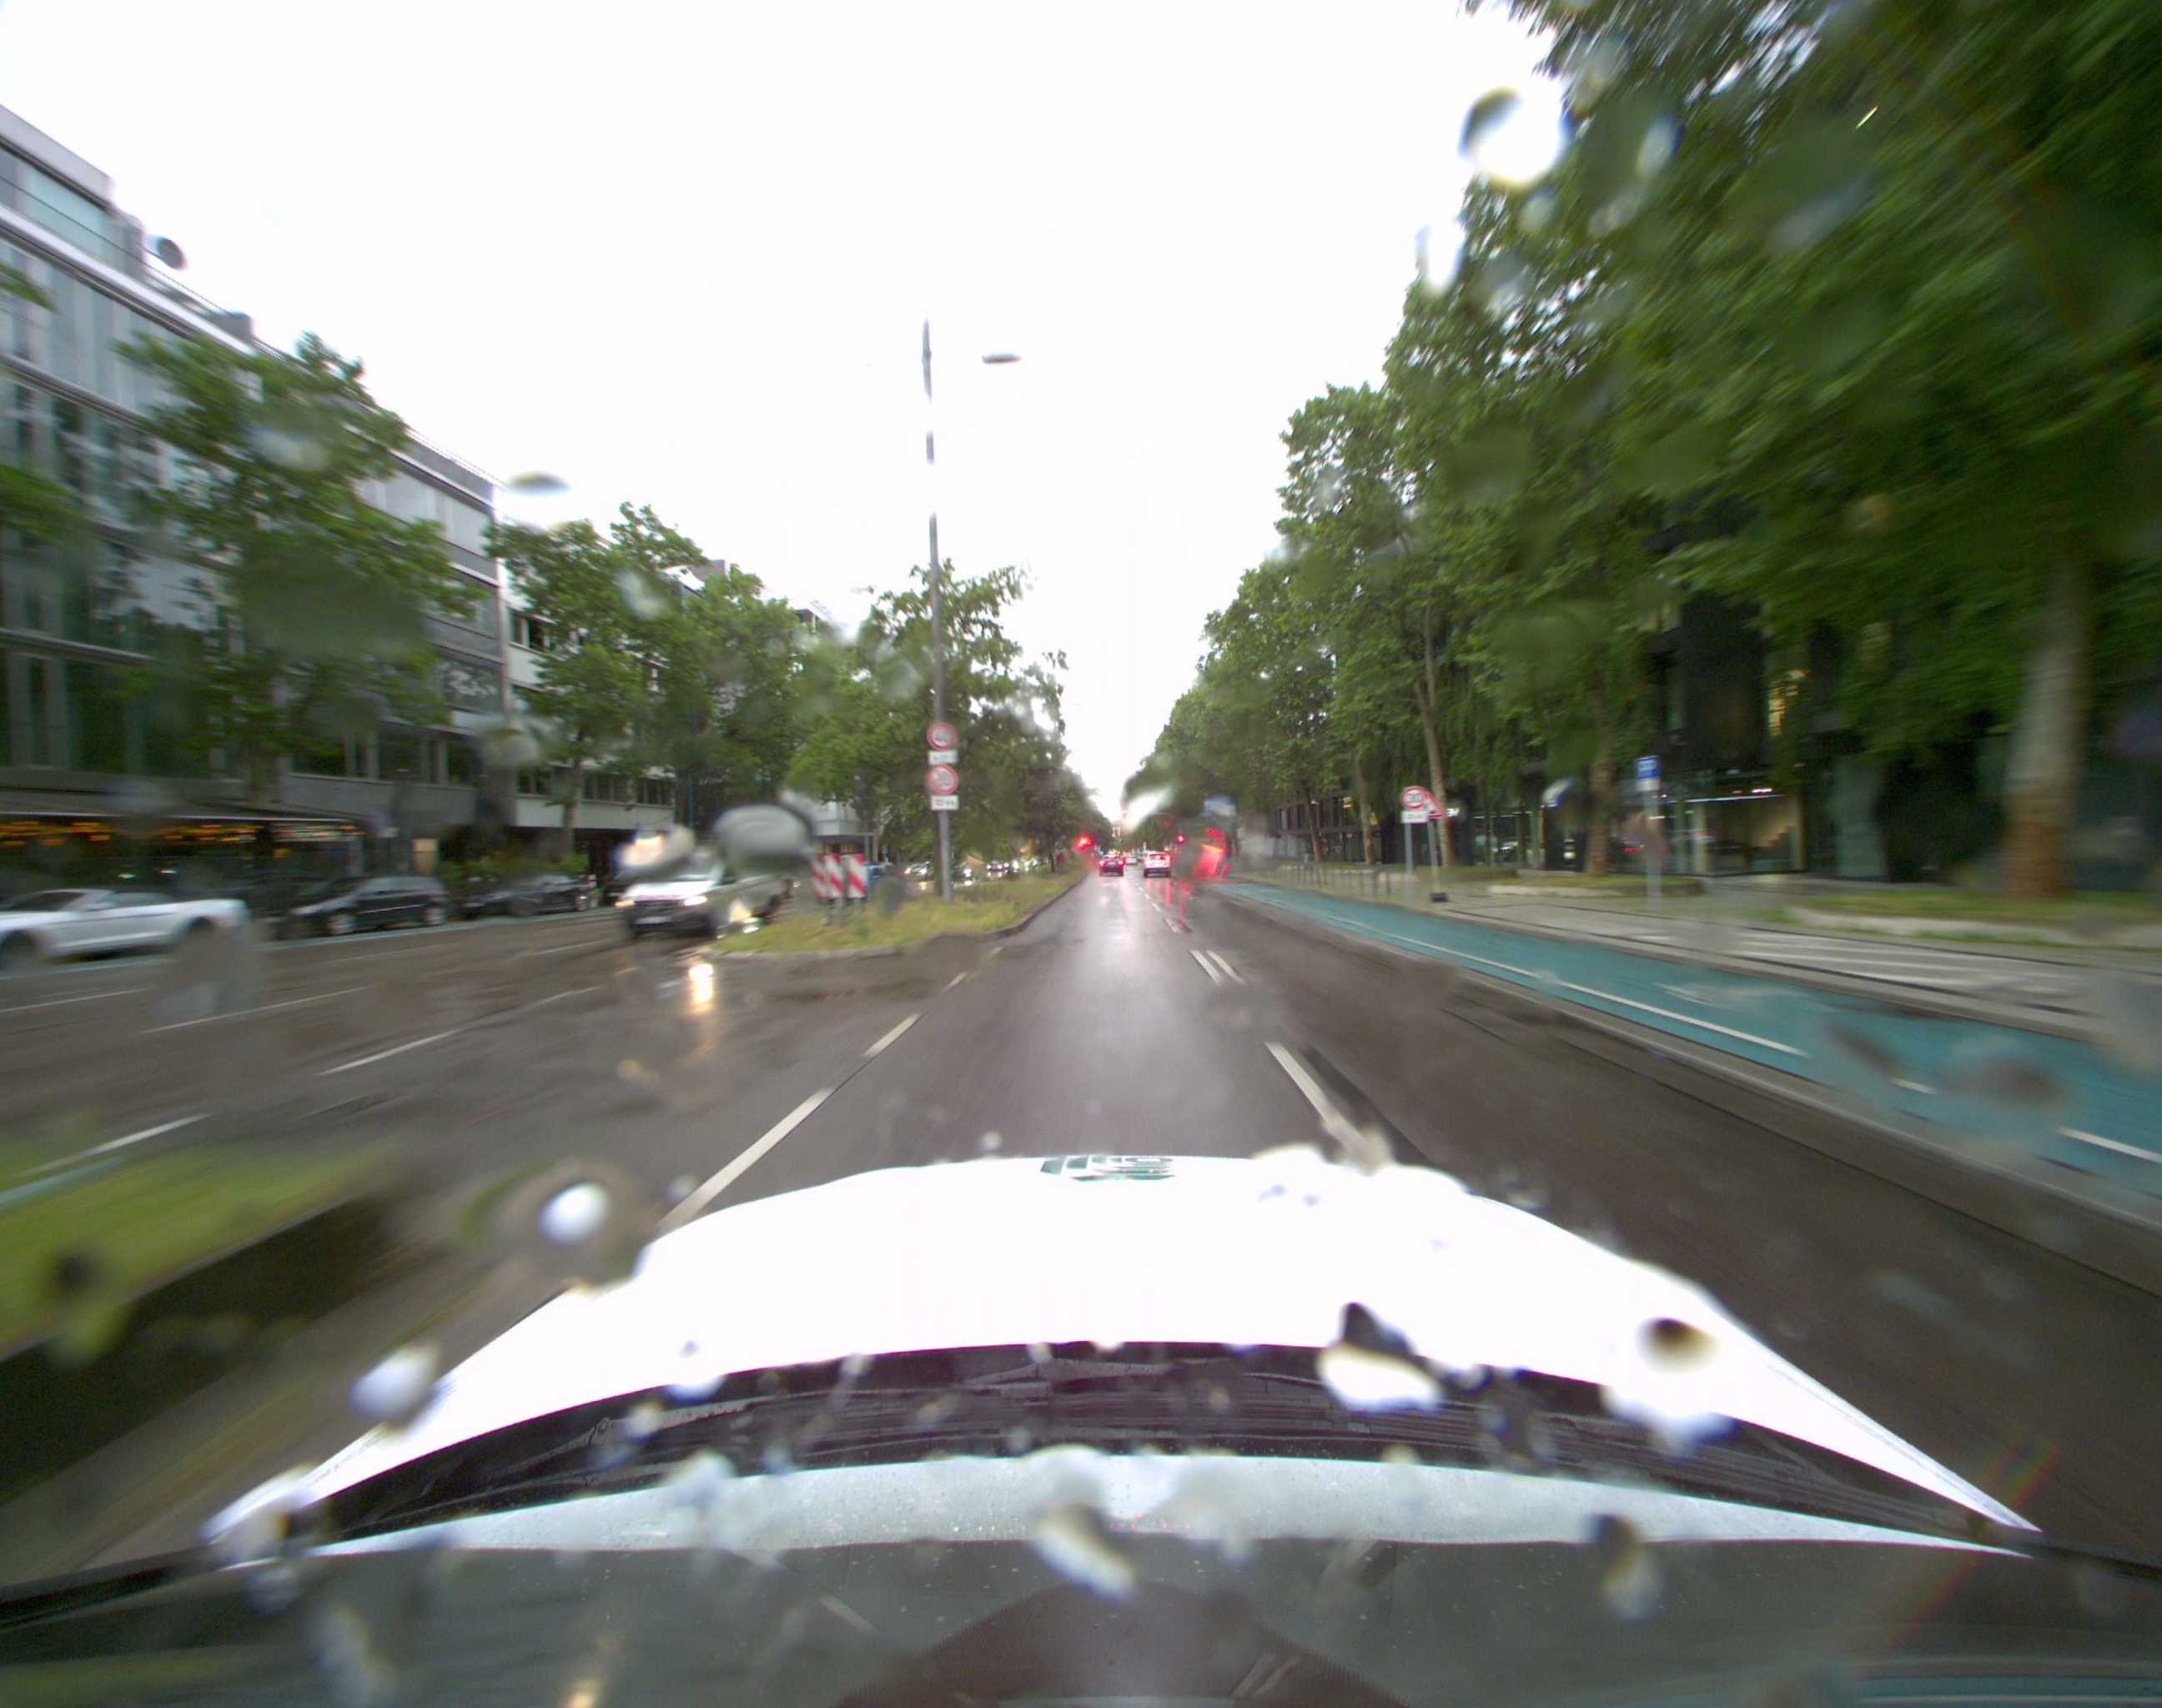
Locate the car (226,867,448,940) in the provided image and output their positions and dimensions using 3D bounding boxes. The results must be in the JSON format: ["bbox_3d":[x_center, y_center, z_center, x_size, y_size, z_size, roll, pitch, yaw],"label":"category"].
[{"bbox_3d":[-18.610,1.171,20.679,1.830,1.508,4.002,-2,0,2],"label":"car"}]

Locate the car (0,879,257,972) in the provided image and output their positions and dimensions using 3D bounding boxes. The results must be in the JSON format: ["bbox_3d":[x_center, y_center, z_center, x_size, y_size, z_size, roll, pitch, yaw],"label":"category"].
[{"bbox_3d":[-18.707,1.268,15.300,1.553,1.353,4.685,-1,1,2],"label":"car"}]

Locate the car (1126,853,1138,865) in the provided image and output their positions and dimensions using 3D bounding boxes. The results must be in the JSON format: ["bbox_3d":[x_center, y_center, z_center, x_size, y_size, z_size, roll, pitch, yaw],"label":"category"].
[{"bbox_3d":[8.046,0.775,128.400,1.614,1.666,4.002,-2,0,2],"label":"car"}]

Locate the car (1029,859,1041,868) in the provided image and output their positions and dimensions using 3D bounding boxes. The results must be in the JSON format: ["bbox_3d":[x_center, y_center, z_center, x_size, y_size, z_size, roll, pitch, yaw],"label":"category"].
[{"bbox_3d":[-7.655,1.518,136.607,1.608,1.394,3.599,-2,0,2],"label":"car"}]

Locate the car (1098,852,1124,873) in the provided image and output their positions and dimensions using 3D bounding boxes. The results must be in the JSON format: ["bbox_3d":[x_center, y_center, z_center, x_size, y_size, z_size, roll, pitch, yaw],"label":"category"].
[{"bbox_3d":[2.261,0.657,62.017,1.911,1.491,4.002,-2,0,2],"label":"car"}]

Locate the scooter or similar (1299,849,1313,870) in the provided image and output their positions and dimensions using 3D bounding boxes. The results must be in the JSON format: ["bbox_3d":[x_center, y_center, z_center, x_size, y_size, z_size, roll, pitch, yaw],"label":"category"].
[{"bbox_3d":[13.895,0.335,50.238,0.377,1.228,1.086,-2,0,38],"label":"scooter or similar"}]

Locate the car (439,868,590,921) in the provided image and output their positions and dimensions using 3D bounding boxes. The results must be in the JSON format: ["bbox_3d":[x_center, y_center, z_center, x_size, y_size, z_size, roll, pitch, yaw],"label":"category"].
[{"bbox_3d":[-18.308,1.261,26.622,1.686,1.409,4.458,-2,0,2],"label":"car"}]

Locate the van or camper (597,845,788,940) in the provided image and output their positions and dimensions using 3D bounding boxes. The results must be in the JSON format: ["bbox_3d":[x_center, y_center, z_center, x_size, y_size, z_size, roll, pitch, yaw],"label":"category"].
[{"bbox_3d":[-8.983,0.770,19.463,1.987,1.913,5.250,-2,0,0],"label":"van or camper"}]

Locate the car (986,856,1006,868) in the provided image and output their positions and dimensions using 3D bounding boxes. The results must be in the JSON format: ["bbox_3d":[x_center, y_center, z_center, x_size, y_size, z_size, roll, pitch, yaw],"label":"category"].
[{"bbox_3d":[-10.330,0.984,98.758,1.836,1.389,4.002,-2,0,2],"label":"car"}]

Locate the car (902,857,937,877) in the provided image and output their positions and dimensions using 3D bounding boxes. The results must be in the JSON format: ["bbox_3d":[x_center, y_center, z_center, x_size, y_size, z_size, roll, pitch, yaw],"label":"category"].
[{"bbox_3d":[-12.438,1.017,62.858,1.836,1.429,3.644,-2,0,2],"label":"car"}]

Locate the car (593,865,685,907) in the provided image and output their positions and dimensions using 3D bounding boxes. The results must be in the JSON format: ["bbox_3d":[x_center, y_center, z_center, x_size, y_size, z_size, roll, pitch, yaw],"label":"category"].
[{"bbox_3d":[-17.738,1.257,32.862,1.686,1.468,3.461,-2,0,2],"label":"car"}]

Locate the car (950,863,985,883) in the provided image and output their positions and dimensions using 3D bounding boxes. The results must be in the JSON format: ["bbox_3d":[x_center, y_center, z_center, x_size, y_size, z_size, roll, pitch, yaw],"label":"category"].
[{"bbox_3d":[-8.688,1.452,62.654,1.740,1.476,4.102,-1,-1,6],"label":"car"}]

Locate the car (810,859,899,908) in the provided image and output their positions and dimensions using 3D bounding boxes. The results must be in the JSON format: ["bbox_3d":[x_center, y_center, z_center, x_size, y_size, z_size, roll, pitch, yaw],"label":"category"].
[{"bbox_3d":[-8.108,1.004,29.612,1.836,1.482,4.398,-1,1,2],"label":"car"}]

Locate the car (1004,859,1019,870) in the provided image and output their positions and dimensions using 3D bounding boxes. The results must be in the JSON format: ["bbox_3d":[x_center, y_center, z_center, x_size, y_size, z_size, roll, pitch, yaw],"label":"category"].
[{"bbox_3d":[-9.700,1.443,114.222,1.608,1.394,4.186,-2,0,2],"label":"car"}]

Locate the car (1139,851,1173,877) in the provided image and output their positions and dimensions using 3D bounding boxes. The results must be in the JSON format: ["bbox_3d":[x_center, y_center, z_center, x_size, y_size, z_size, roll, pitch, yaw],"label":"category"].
[{"bbox_3d":[5.137,0.670,56.445,1.986,1.655,4.891,-2,0,2],"label":"car"}]

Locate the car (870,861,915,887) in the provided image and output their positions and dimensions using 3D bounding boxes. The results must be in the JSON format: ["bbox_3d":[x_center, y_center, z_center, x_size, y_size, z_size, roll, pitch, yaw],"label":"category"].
[{"bbox_3d":[-10.906,1.125,47.353,1.711,1.367,3.051,-1,1,3],"label":"car"}]

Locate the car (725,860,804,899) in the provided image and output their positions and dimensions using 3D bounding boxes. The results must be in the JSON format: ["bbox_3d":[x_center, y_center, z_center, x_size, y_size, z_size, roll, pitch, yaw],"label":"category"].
[{"bbox_3d":[-13.610,1.056,35.229,1.744,1.476,4.096,-2,0,0],"label":"car"}]
